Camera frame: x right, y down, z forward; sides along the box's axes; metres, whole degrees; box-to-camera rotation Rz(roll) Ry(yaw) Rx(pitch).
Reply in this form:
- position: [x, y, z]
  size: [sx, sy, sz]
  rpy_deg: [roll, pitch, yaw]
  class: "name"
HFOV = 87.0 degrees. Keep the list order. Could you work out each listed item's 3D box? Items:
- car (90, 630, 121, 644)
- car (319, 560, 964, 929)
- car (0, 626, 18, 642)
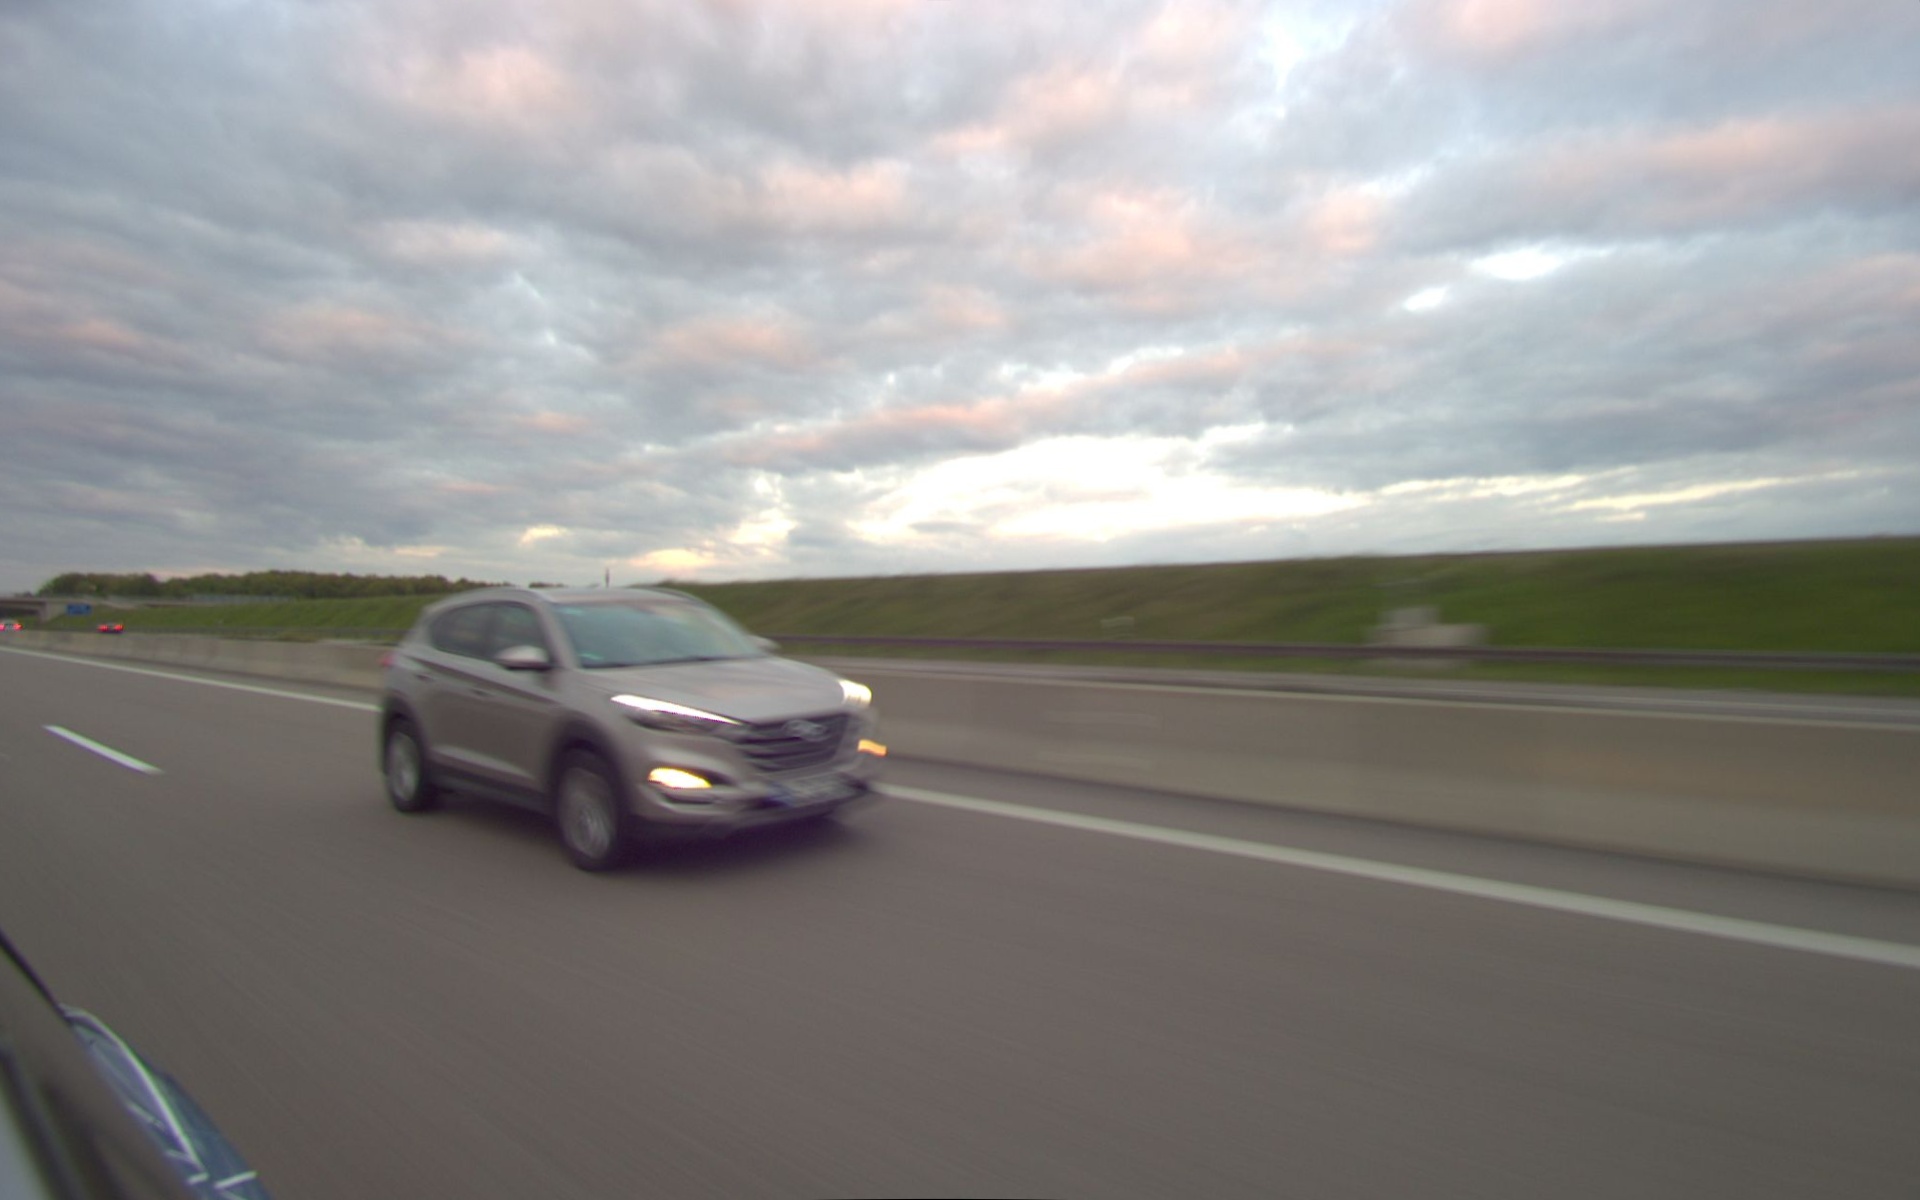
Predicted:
- position: [-85.488, 3.705, 101.220]
  size: [4.340, 1.403, 1.720]
  rpy_deg: [-2, -2, 41]
  class: "car"
- position: [-2.641, 0.716, 7.218]
  size: [5.510, 1.705, 1.833]
  rpy_deg: [-1, -1, 42]
  class: "car"
- position: [-111.284, 3.954, 117.726]
  size: [5.179, 1.748, 1.973]
  rpy_deg: [-1, -2, 41]
  class: "car"
